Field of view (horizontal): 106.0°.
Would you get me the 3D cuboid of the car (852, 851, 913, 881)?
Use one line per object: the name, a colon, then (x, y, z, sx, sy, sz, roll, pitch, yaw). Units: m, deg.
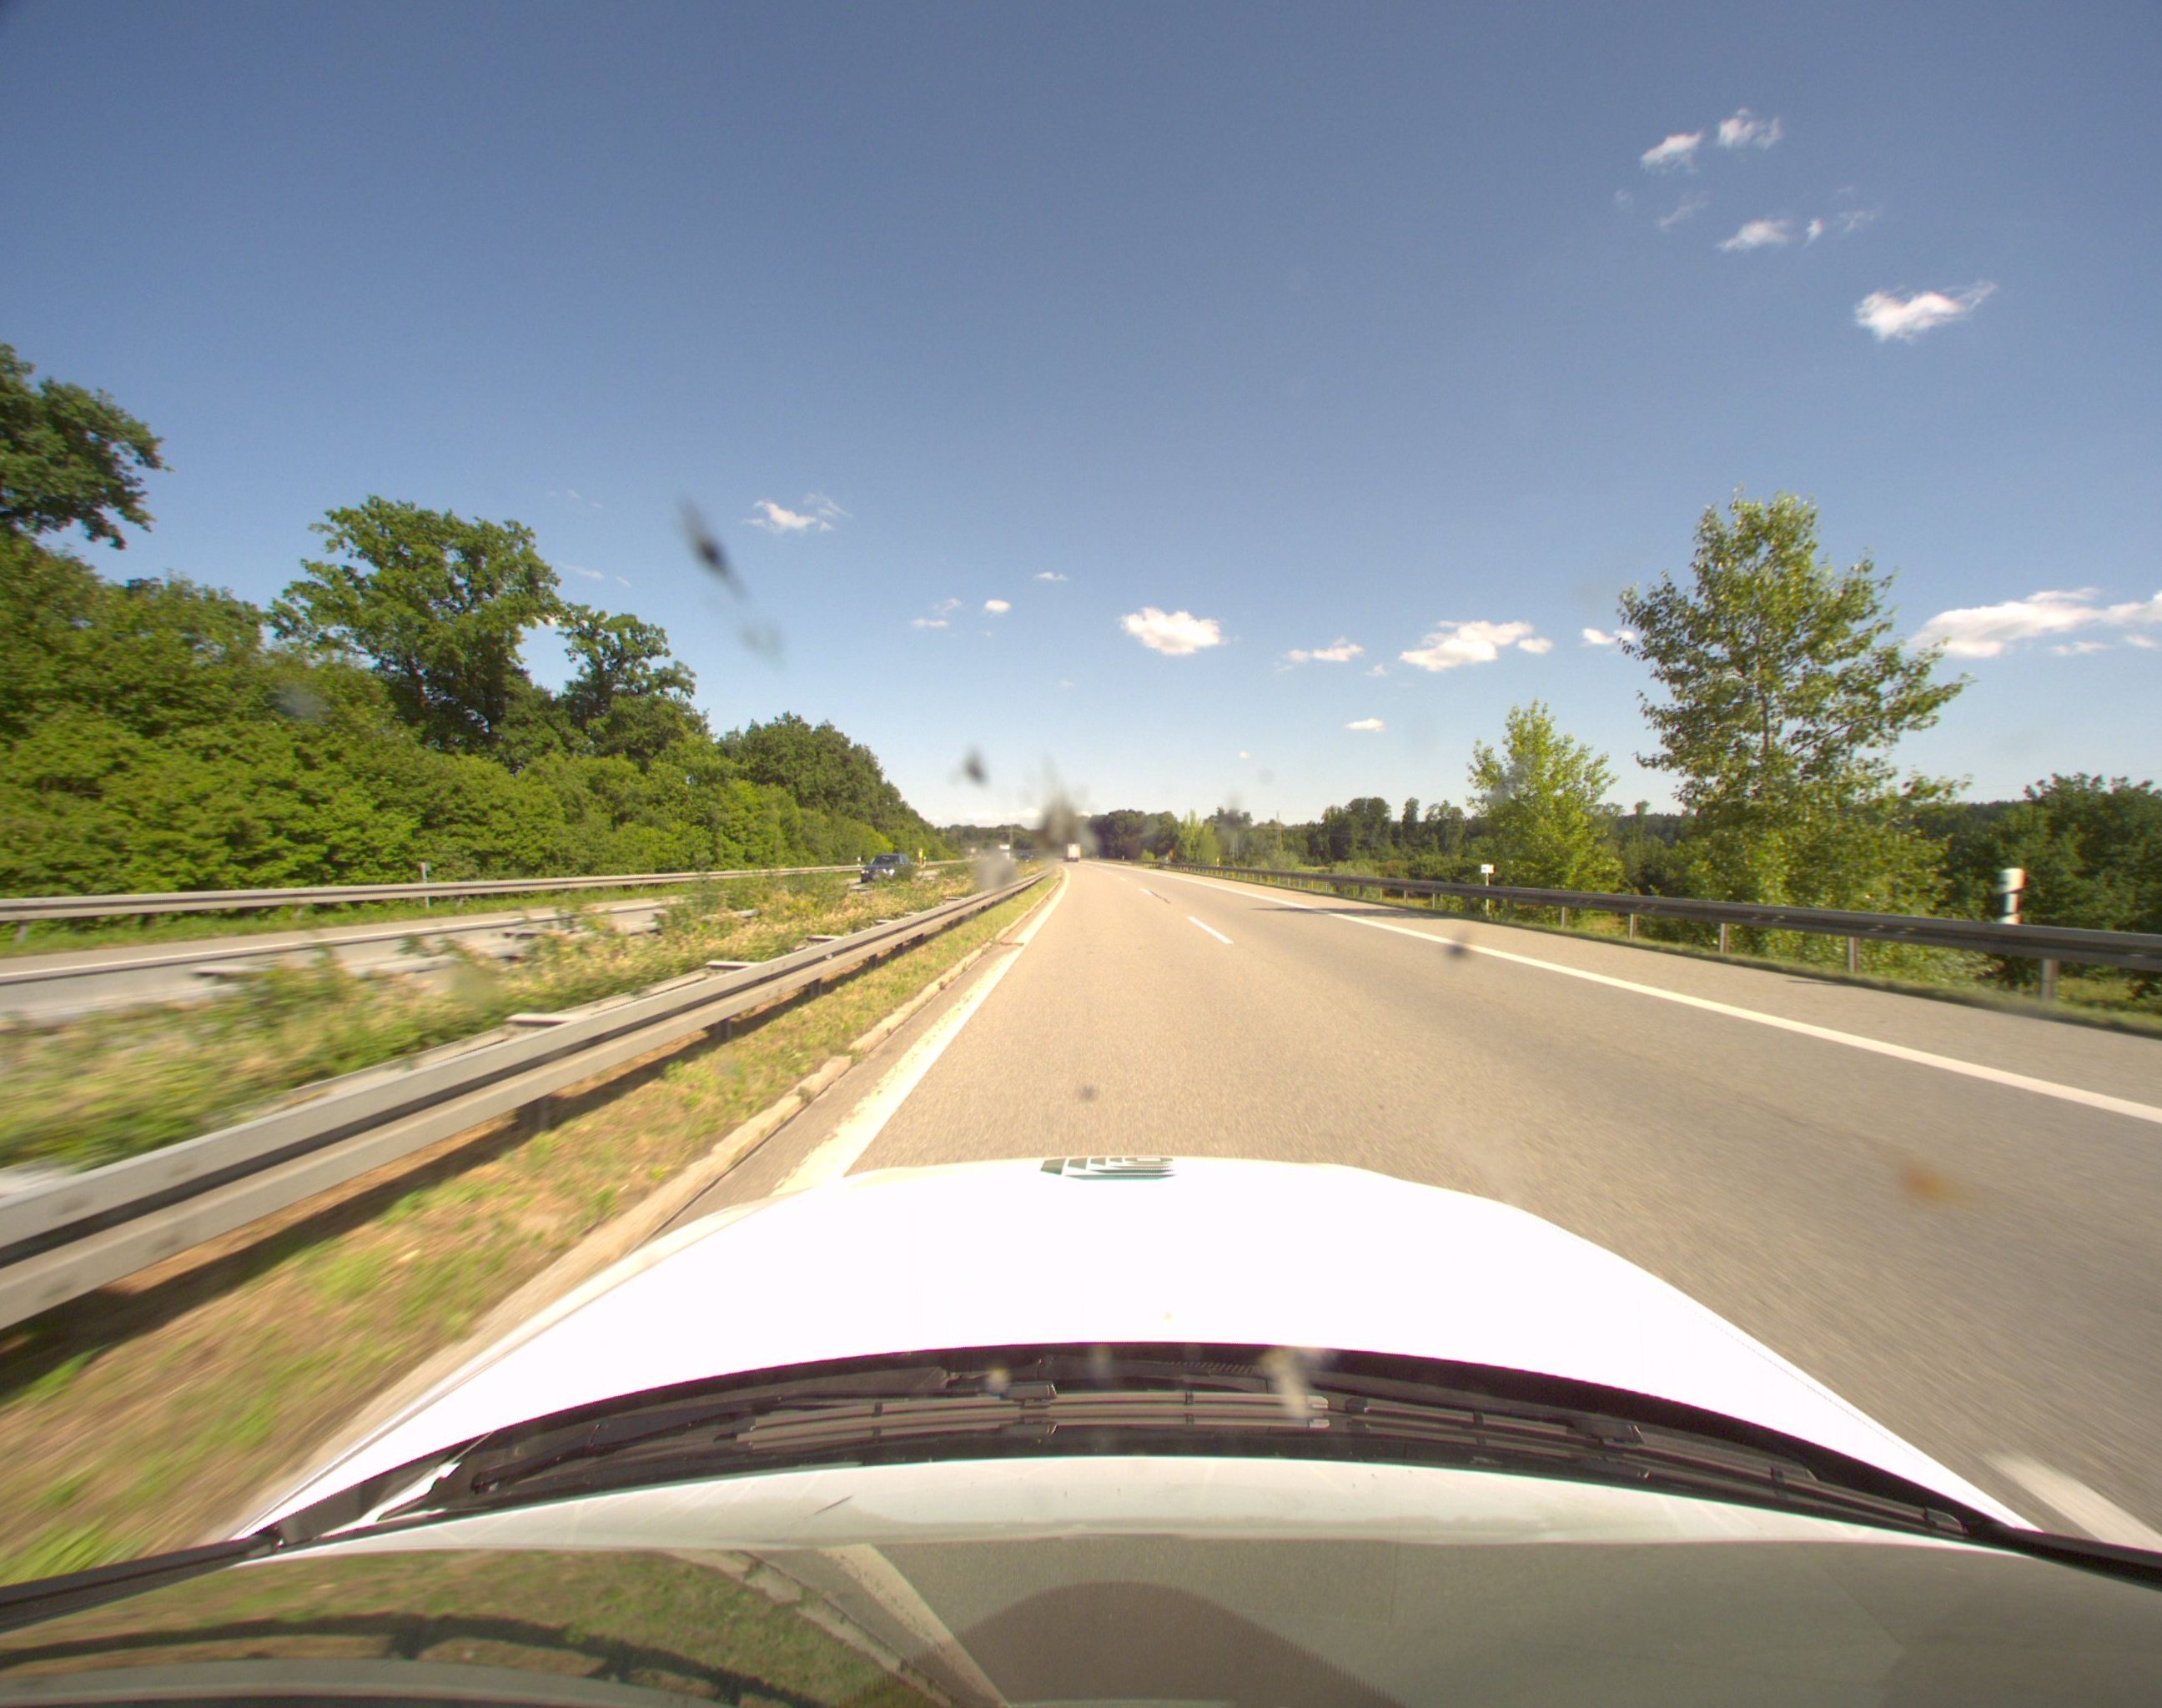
car: (-10.036, 0.578, 41.512, 1.987, 1.432, 4.486, -1, 0, 0)

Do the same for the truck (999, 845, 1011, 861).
truck: (-18.184, -0.172, 194.212, 2.738, 3.727, 5.958, -1, 0, -7)

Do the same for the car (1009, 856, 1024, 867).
car: (-8.412, 0.957, 105.786, 1.724, 1.428, 3.878, -1, 0, -2)

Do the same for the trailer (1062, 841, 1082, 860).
trailer: (-2.118, -0.833, 182.550, 2.883, 4.066, 12.383, -1, 0, -8)
